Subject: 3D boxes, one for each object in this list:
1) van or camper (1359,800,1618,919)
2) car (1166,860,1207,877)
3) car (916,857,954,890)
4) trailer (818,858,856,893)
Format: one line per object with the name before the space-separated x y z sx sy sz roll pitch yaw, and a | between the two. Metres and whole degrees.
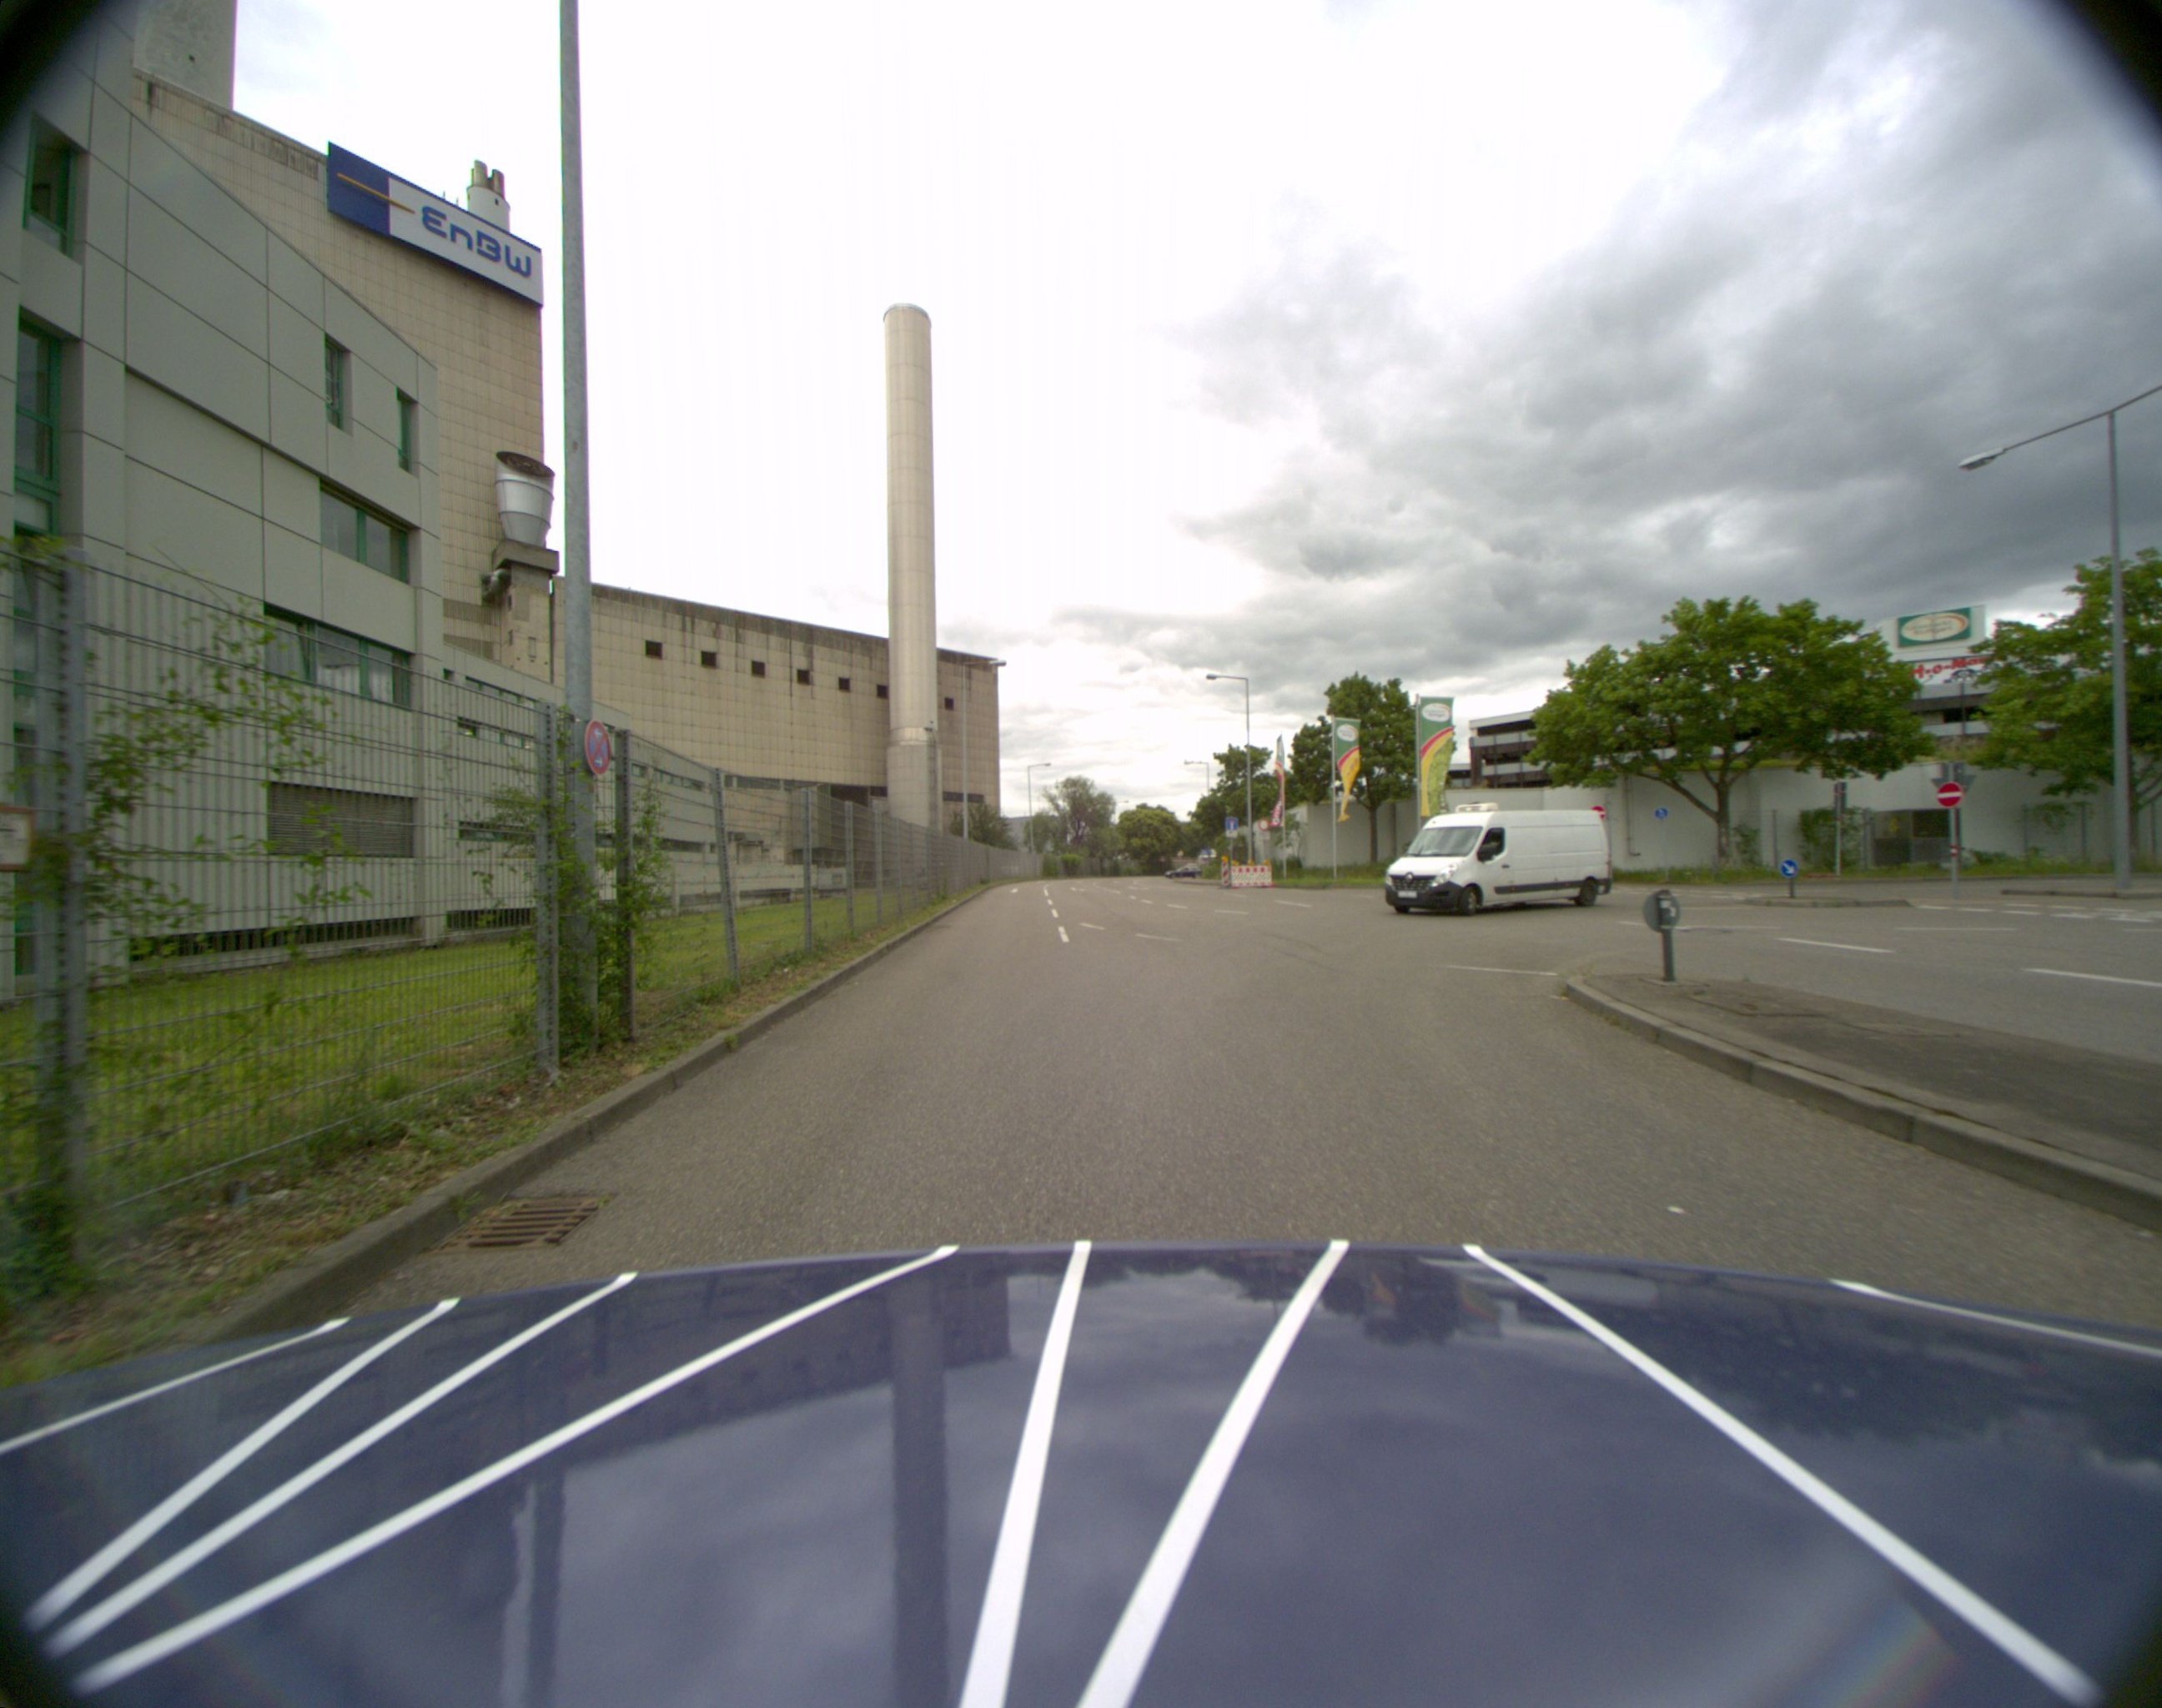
van or camper | 9.989 0.067 18.539 6.115 2.541 2.269 -2 -1 -25
car | 12.539 1.682 90.193 4.616 1.799 2.002 -2 -1 8
car | -13.348 1.809 69.134 2.430 2.745 5.448 -2 -3 -20
trailer | -19.491 1.692 60.887 2.666 2.528 6.425 -2 -1 -17
